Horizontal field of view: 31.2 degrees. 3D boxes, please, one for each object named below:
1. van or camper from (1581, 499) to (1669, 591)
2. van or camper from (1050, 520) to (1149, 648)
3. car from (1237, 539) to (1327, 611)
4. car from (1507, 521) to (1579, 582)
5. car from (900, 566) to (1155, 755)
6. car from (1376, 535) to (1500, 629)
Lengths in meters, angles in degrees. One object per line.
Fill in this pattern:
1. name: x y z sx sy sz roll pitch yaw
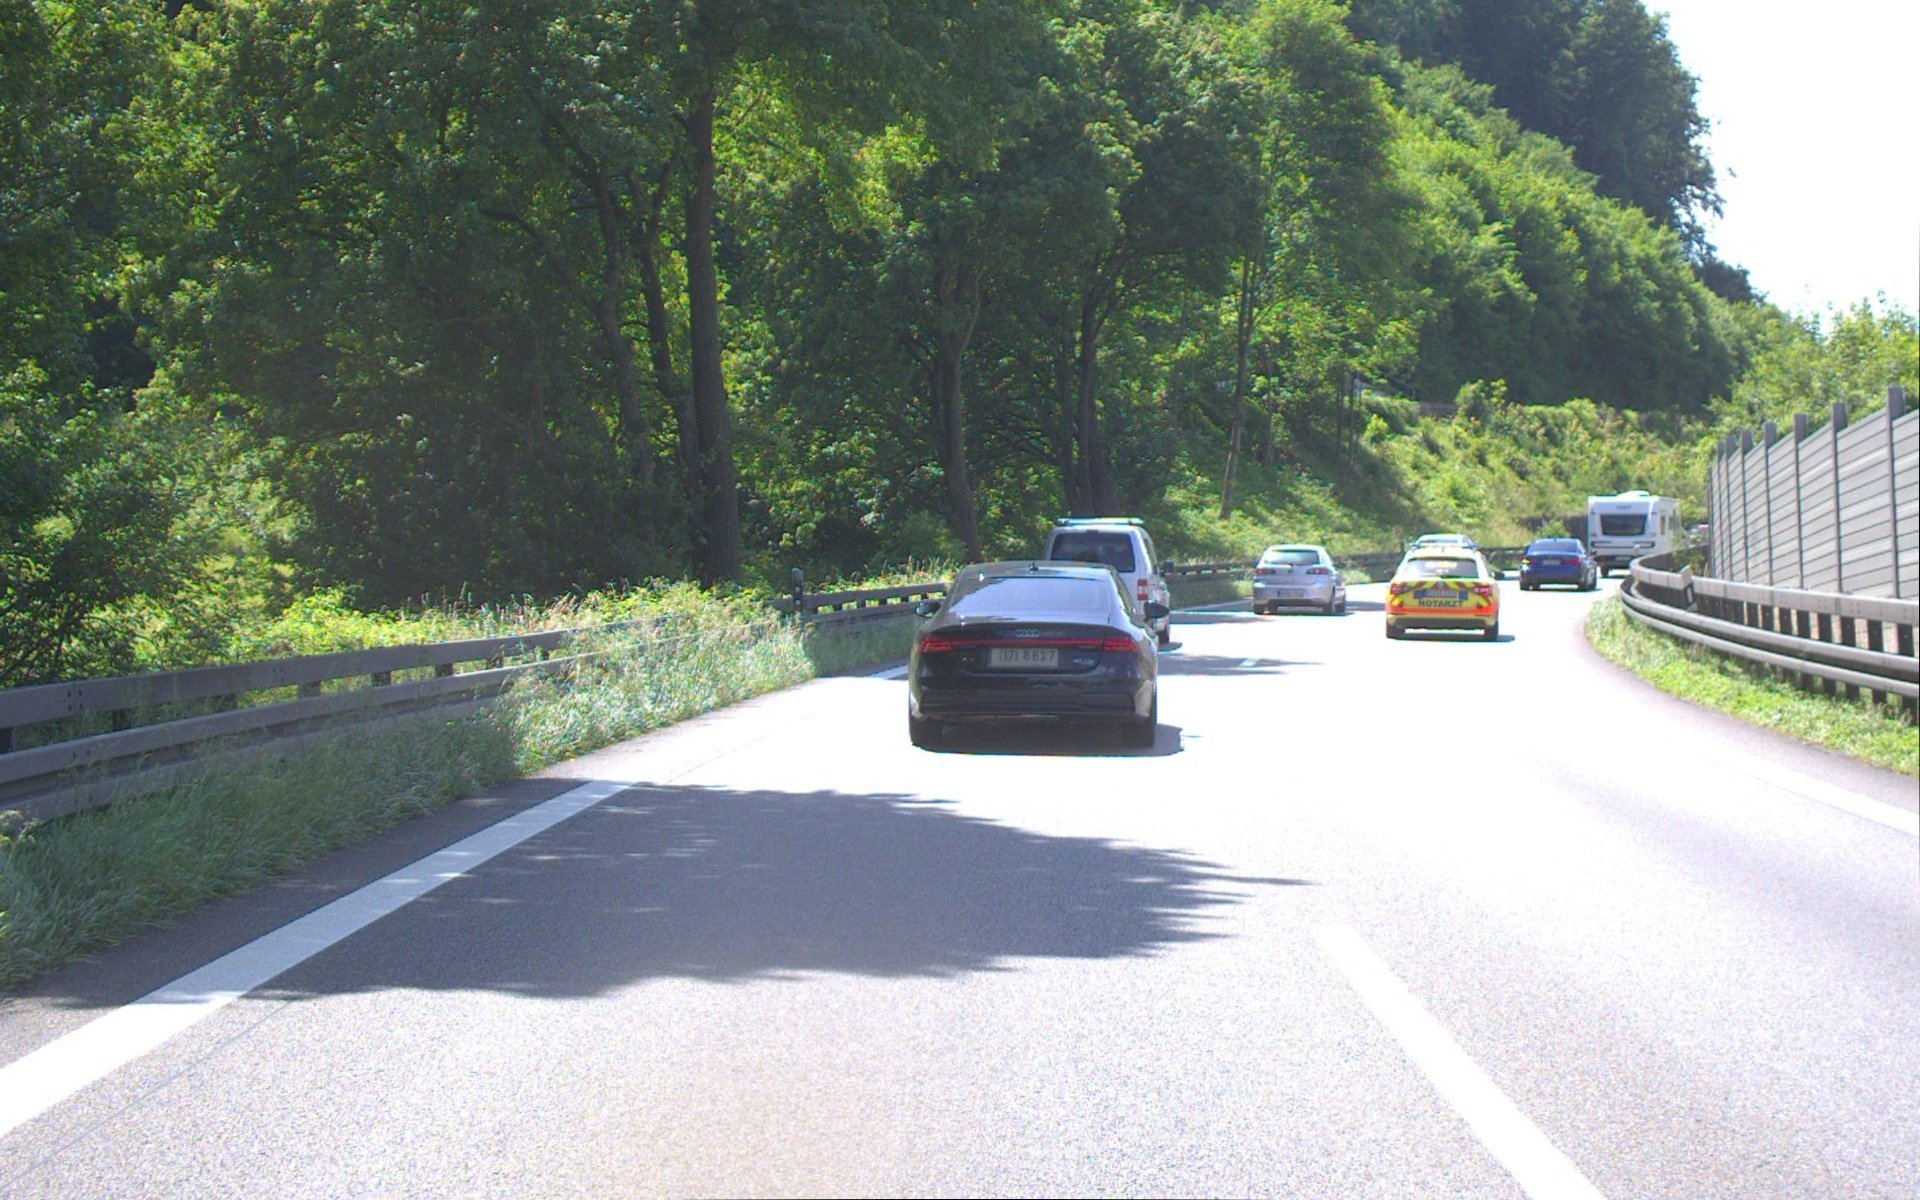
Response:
1. van or camper: 21.854 -1.774 112.771 2.457 2.908 6.122 0 0 15
2. van or camper: 2.066 -0.245 50.909 1.392 1.809 4.000 0 0 2
3. car: 6.602 -0.516 70.849 1.747 1.426 3.999 0 0 4
4. car: 16.151 -1.331 95.092 1.774 1.631 3.998 0 0 12
5. car: 0.584 0.437 27.164 1.838 1.345 4.000 1 0 3
6. car: 7.894 -0.299 56.517 1.863 1.483 3.998 0 0 10
